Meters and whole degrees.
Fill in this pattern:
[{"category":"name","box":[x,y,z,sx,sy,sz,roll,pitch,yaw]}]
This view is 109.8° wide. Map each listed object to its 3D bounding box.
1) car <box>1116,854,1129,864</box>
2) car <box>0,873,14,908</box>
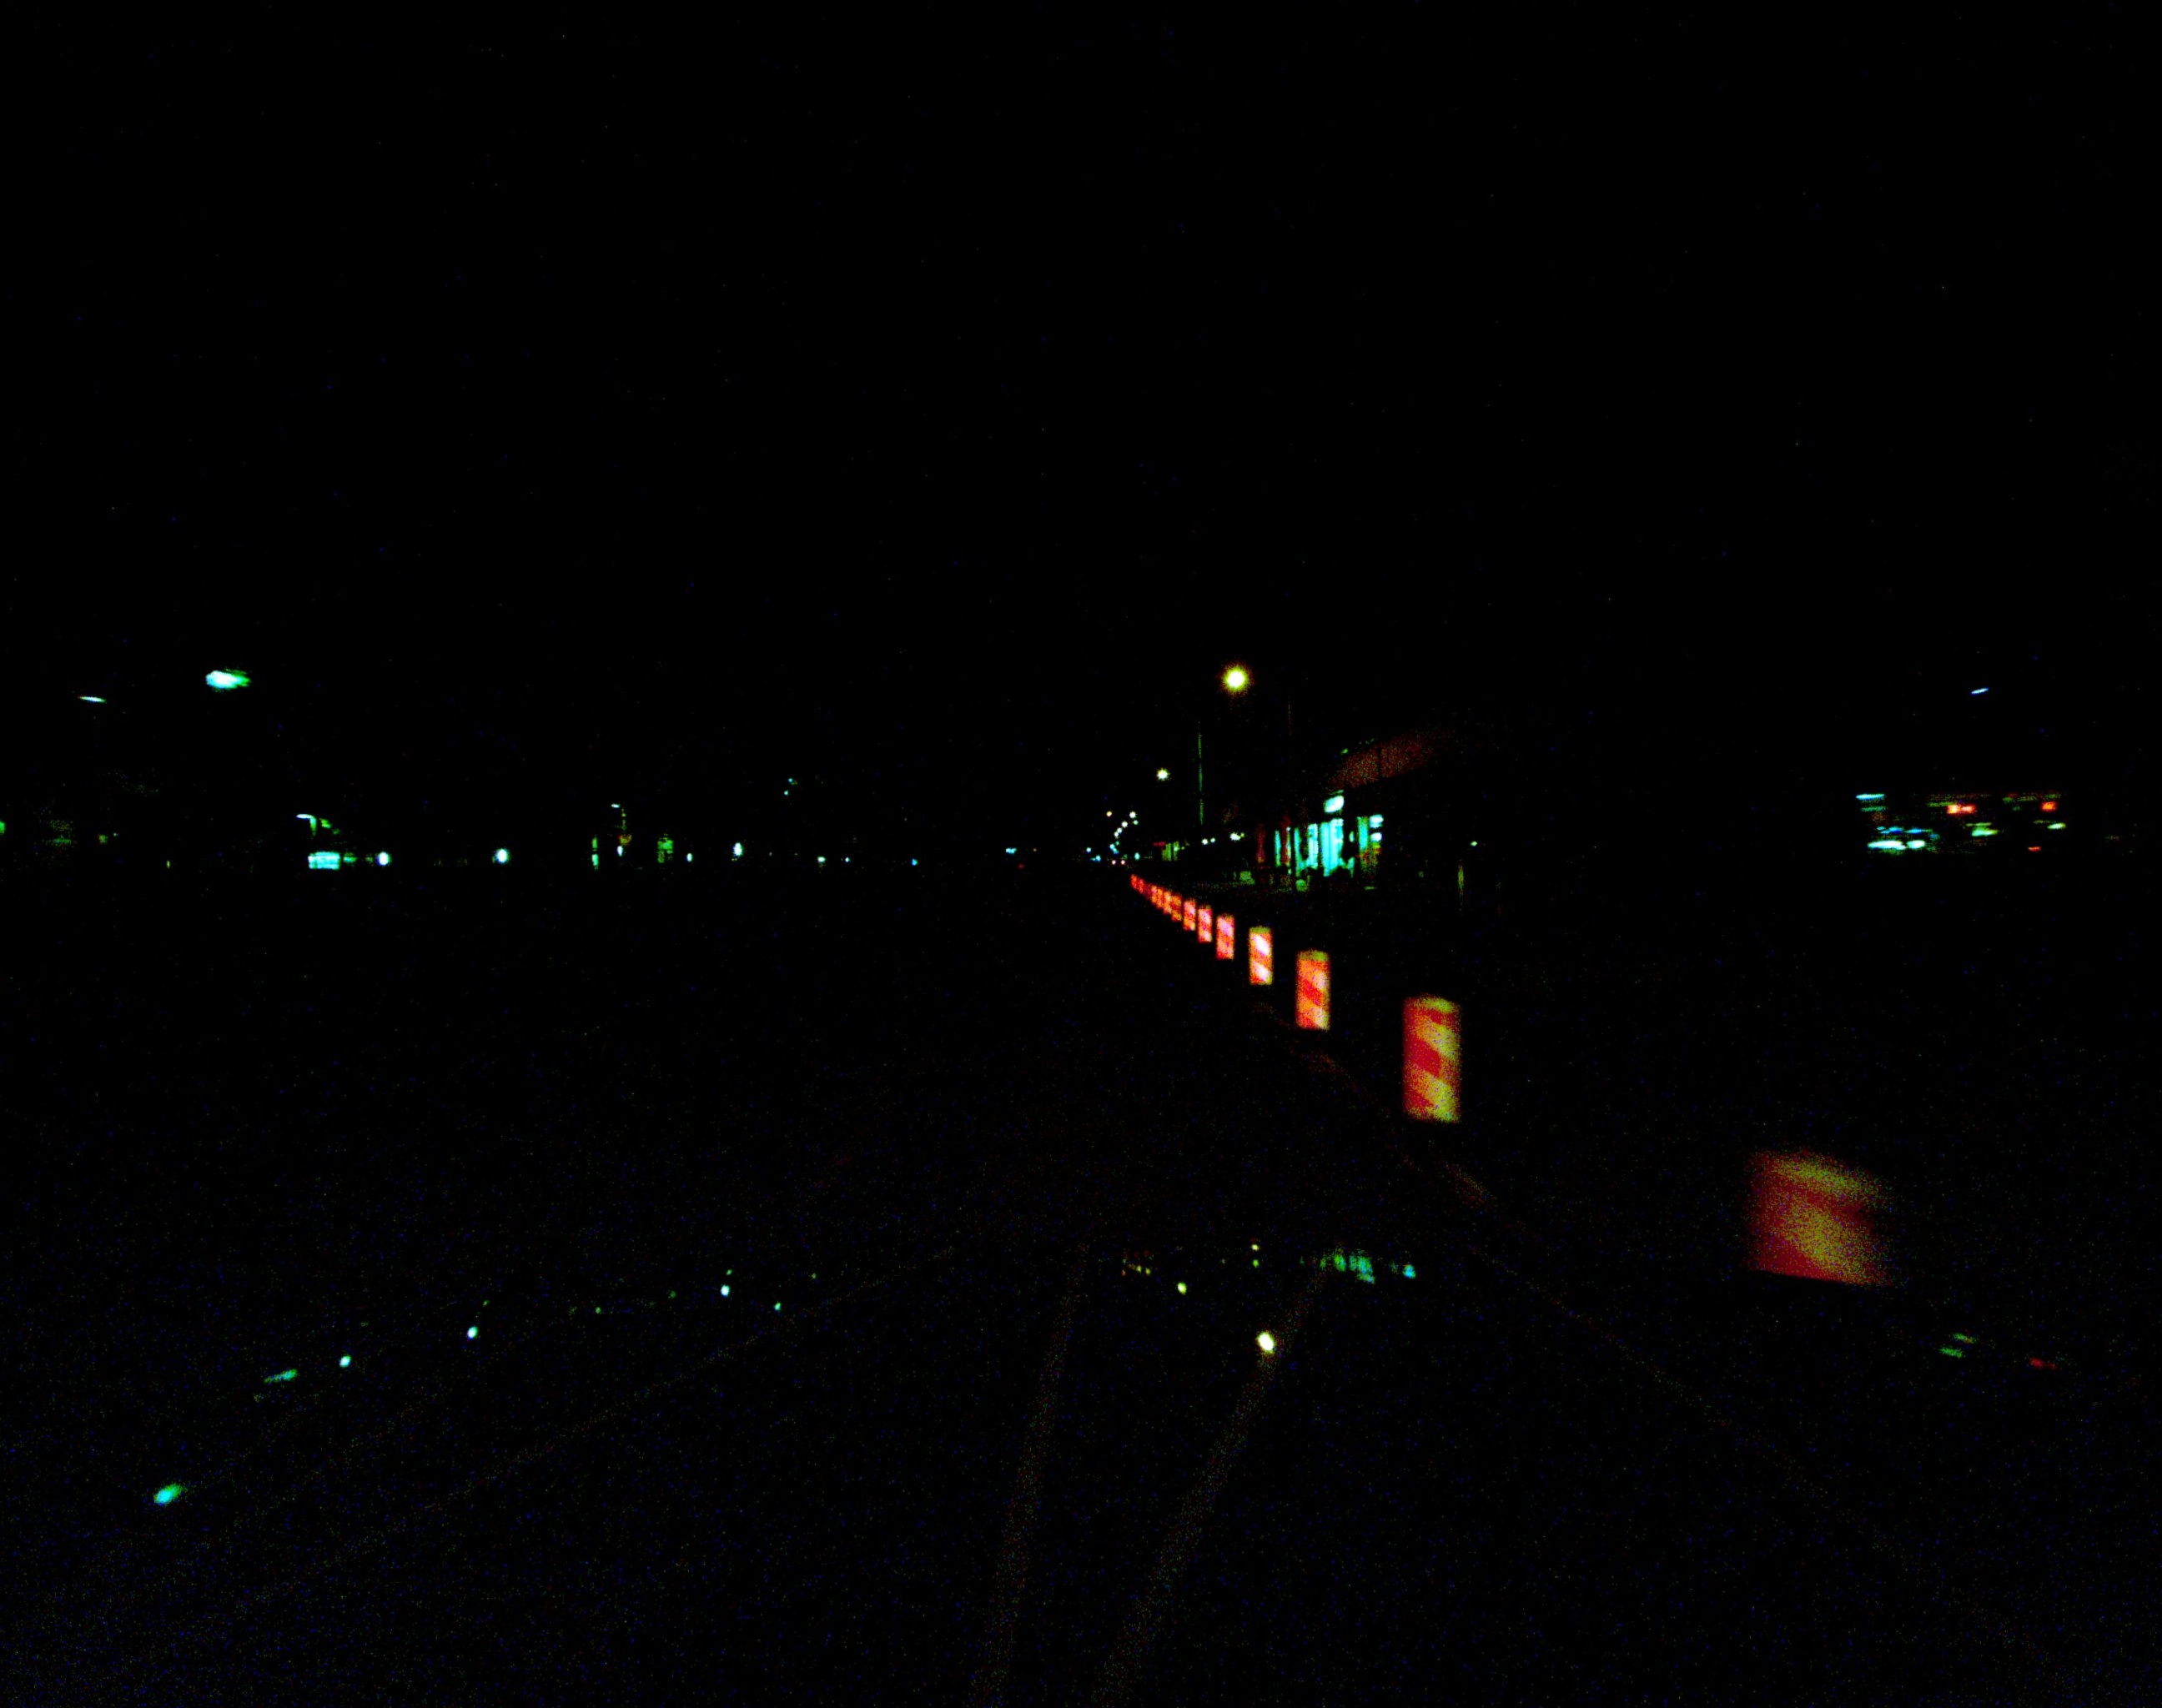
[{"category":"car","box":[6.058,0.726,111.459,1.671,1.420,4.000,0,0,0]},{"category":"car","box":[-48.021,1.610,31.296,1.998,1.499,4.301,-1,0,1]}]
